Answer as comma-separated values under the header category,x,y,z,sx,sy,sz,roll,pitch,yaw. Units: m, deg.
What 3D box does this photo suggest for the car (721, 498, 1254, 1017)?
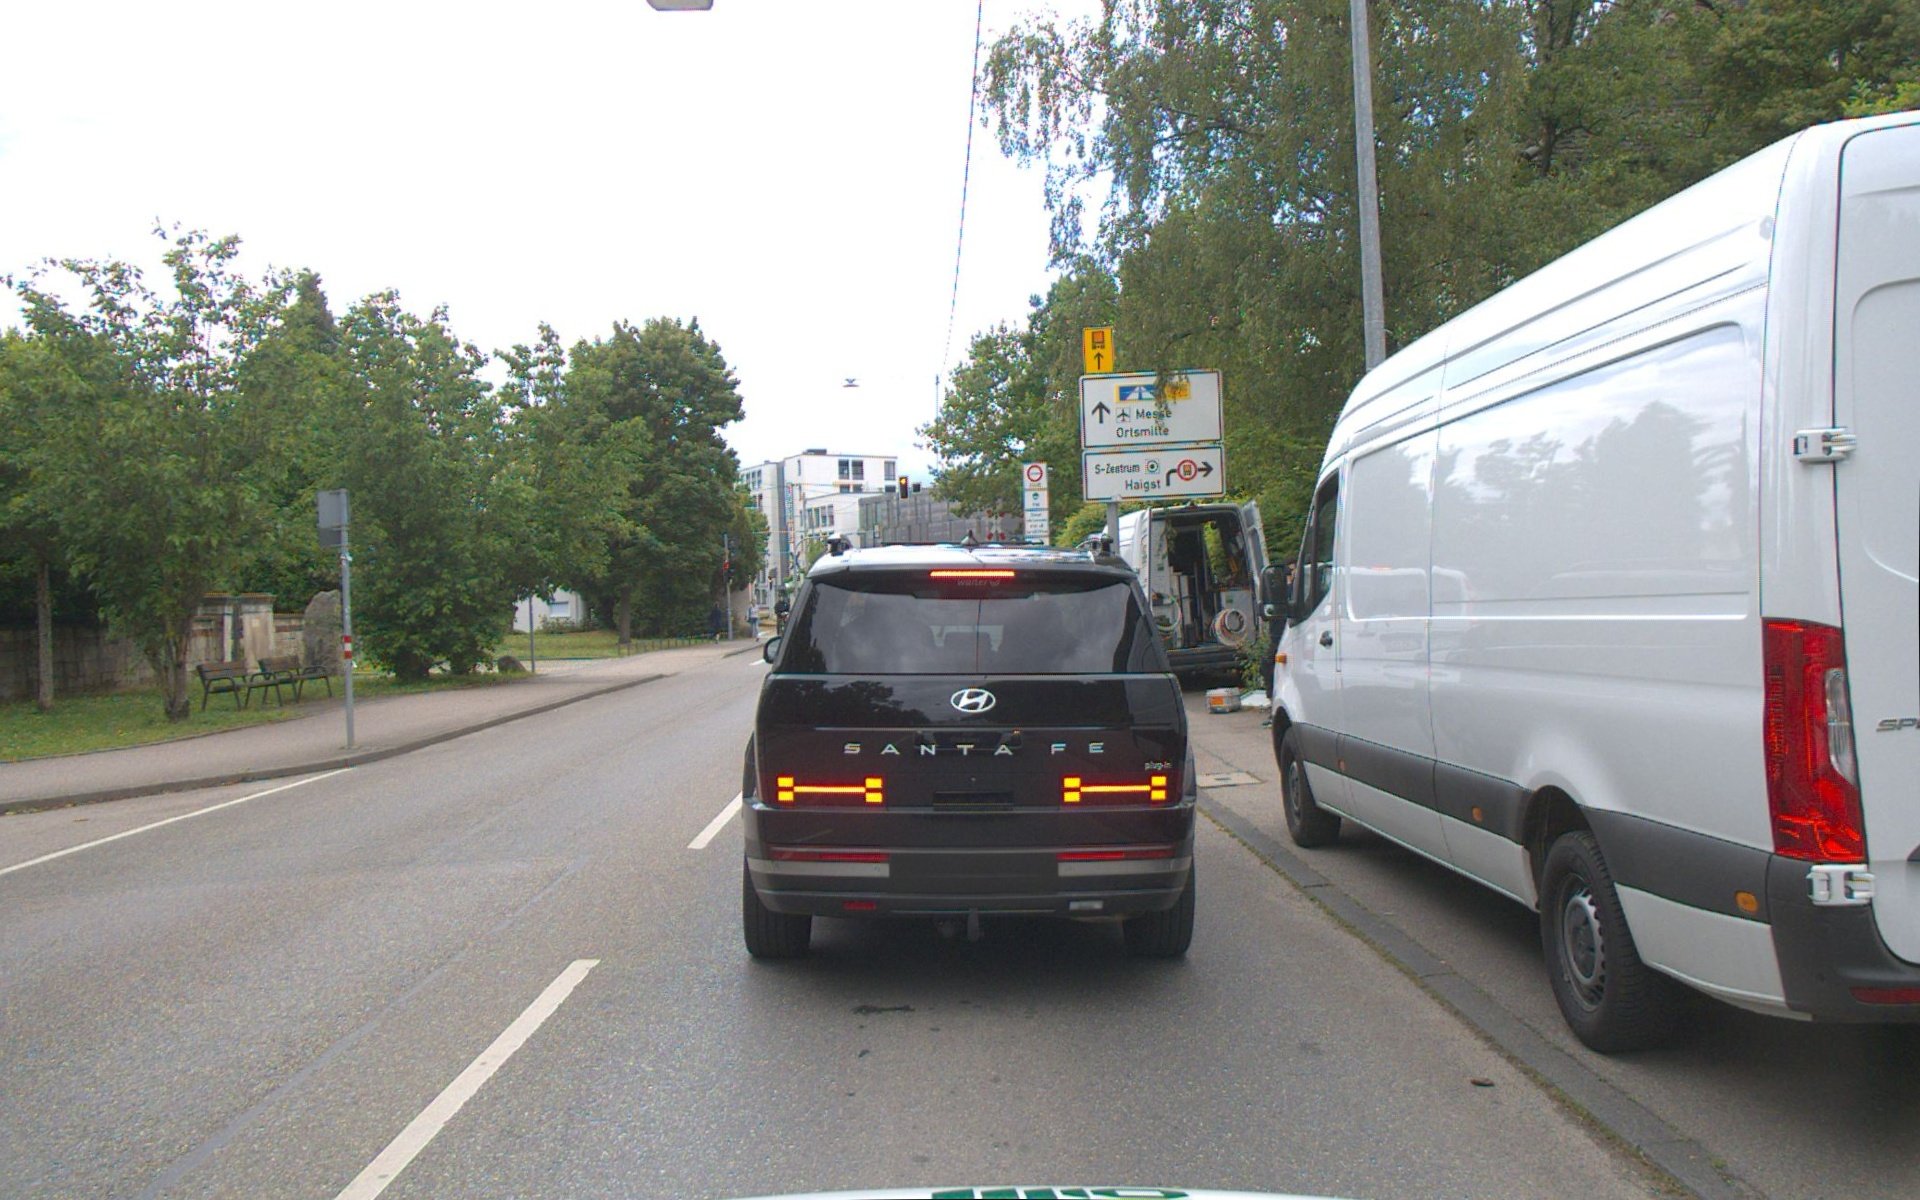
category,x,y,z,sx,sy,sz,roll,pitch,yaw
car,0.073,0.568,7.852,1.858,1.807,3.993,1,0,-1

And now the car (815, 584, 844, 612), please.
category,x,y,z,sx,sy,sz,roll,pitch,yaw
car,-11.377,-0.147,143.873,2.288,2.356,4.950,-2,0,-7

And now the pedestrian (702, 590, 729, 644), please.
category,x,y,z,sx,sy,sz,roll,pitch,yaw
pedestrian,-9.435,0.655,63.790,0.812,2.049,1.047,1,-1,1

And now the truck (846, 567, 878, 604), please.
category,x,y,z,sx,sy,sz,roll,pitch,yaw
truck,-11.113,-1.580,187.006,3.048,3.926,9.607,-2,0,-6

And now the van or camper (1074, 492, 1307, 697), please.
category,x,y,z,sx,sy,sz,roll,pitch,yaw
van or camper,3.292,-0.026,25.310,2.294,2.537,6.600,-5,-1,-2

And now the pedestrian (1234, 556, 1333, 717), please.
category,x,y,z,sx,sy,sz,roll,pitch,yaw
pedestrian,3.630,0.405,18.584,0.742,1.751,0.784,1,-1,-29

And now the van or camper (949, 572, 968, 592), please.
category,x,y,z,sx,sy,sz,roll,pitch,yaw
van or camper,-0.178,-1.889,172.498,1.760,2.033,3.820,1,0,-4

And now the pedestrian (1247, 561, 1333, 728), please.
category,x,y,z,sx,sy,sz,roll,pitch,yaw
pedestrian,3.441,0.459,17.310,0.721,1.672,0.802,-3,-1,5

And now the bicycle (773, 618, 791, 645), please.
category,x,y,z,sx,sy,sz,roll,pitch,yaw
bicycle,-6.625,1.172,61.739,0.485,0.981,1.748,1,0,-1

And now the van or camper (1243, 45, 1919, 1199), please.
category,x,y,z,sx,sy,sz,roll,pitch,yaw
van or camper,2.880,0.030,7.029,1.951,2.670,6.543,-5,0,-1

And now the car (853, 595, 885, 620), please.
category,x,y,z,sx,sy,sz,roll,pitch,yaw
car,-5.587,0.461,101.746,1.721,1.427,4.413,-4,0,-1

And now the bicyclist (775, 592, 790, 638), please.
category,x,y,z,sx,sy,sz,roll,pitch,yaw
bicyclist,-6.618,0.571,61.803,0.477,1.713,0.588,1,-1,-1

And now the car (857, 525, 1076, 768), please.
category,x,y,z,sx,sy,sz,roll,pitch,yaw
car,0.031,0.411,16.323,1.858,2.077,3.993,1,0,-1

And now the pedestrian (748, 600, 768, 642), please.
category,x,y,z,sx,sy,sz,roll,pitch,yaw
pedestrian,-8.538,0.885,69.980,0.751,1.779,0.904,0,0,-2
